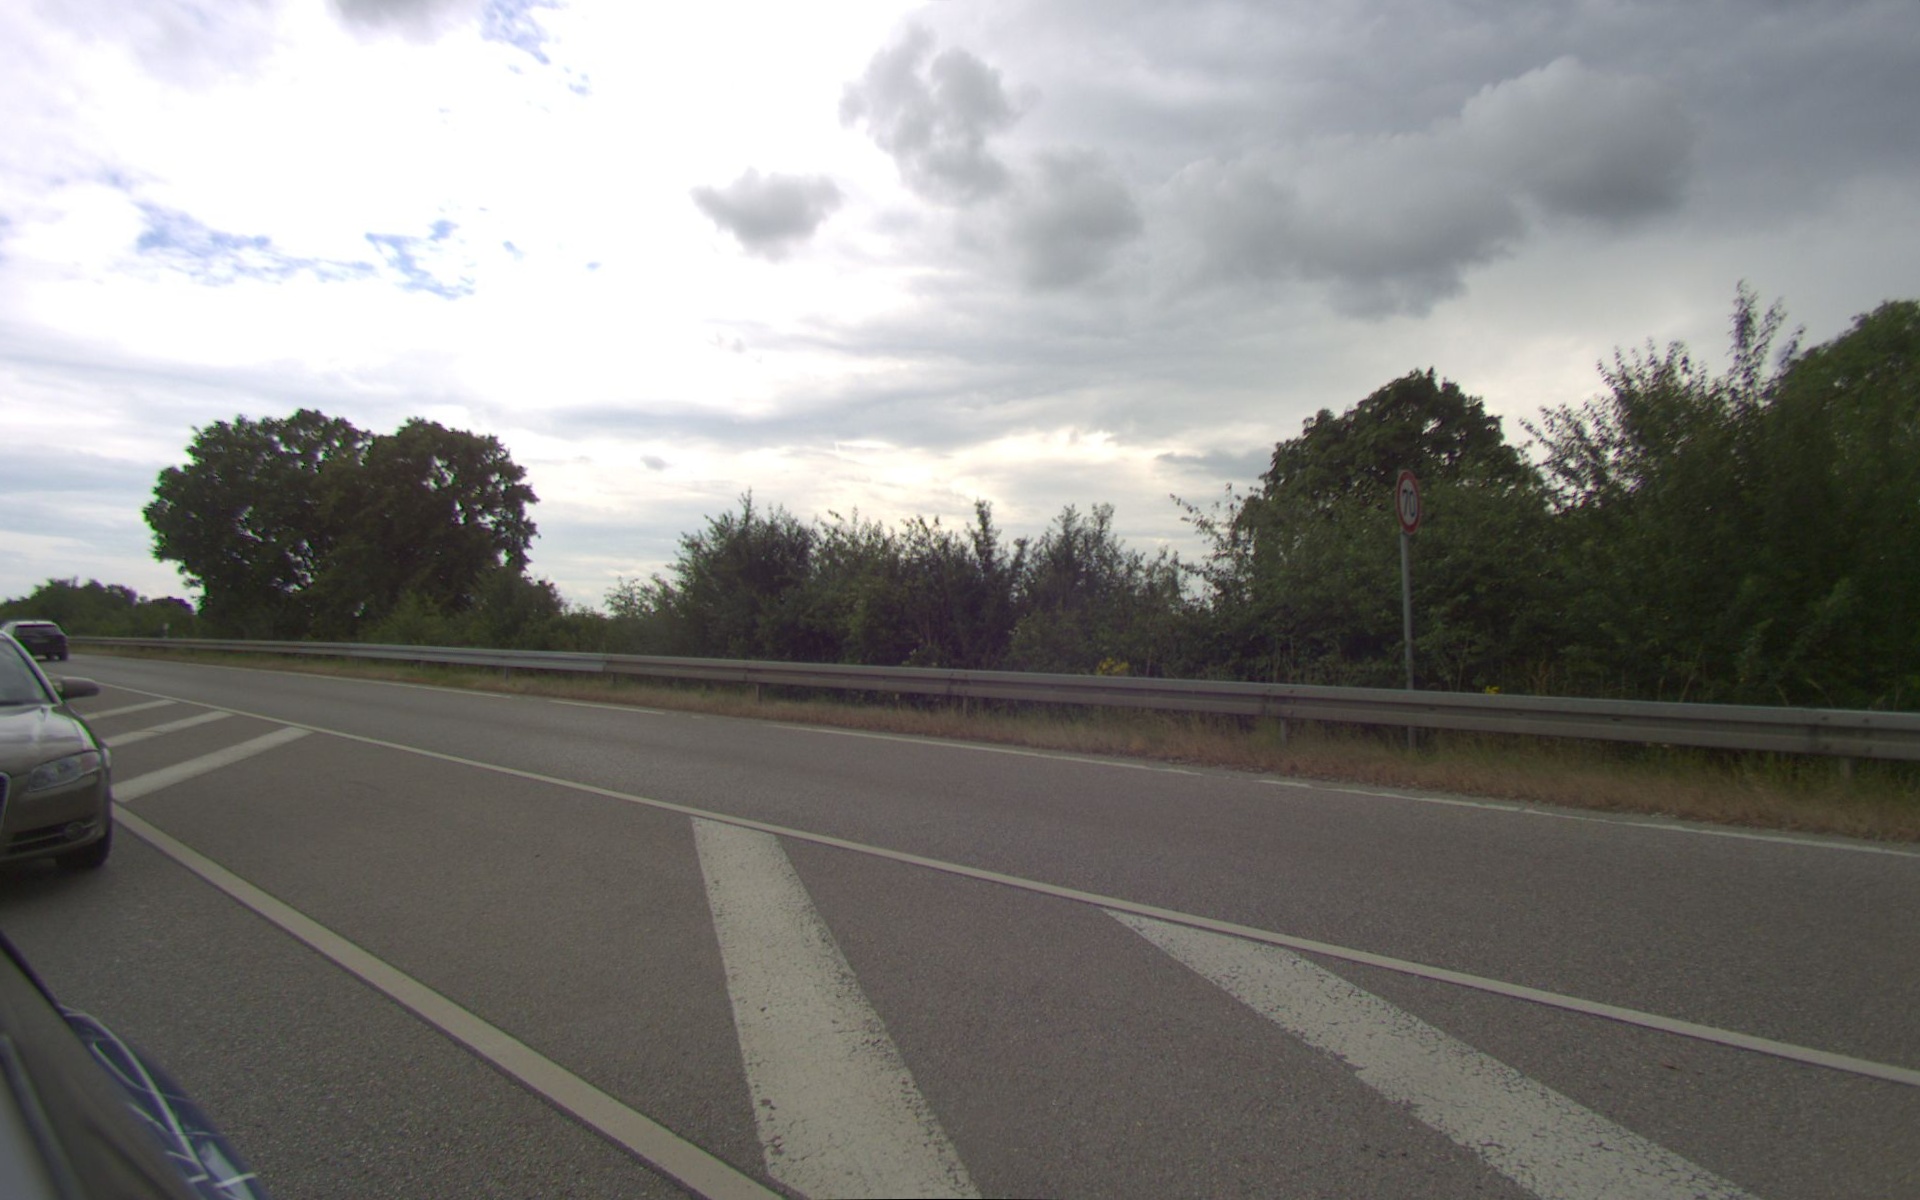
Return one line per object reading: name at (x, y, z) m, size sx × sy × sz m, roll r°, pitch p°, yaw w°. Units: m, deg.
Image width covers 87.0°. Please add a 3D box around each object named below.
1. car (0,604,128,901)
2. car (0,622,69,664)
car at (-6.498, 0.794, 6.023) m, size 4.032 × 1.461 × 1.761 m, roll -2°, pitch -1°, yaw 41°
car at (-33.877, 1.528, 36.788) m, size 4.612 × 1.385 × 1.800 m, roll -1°, pitch -1°, yaw 43°
